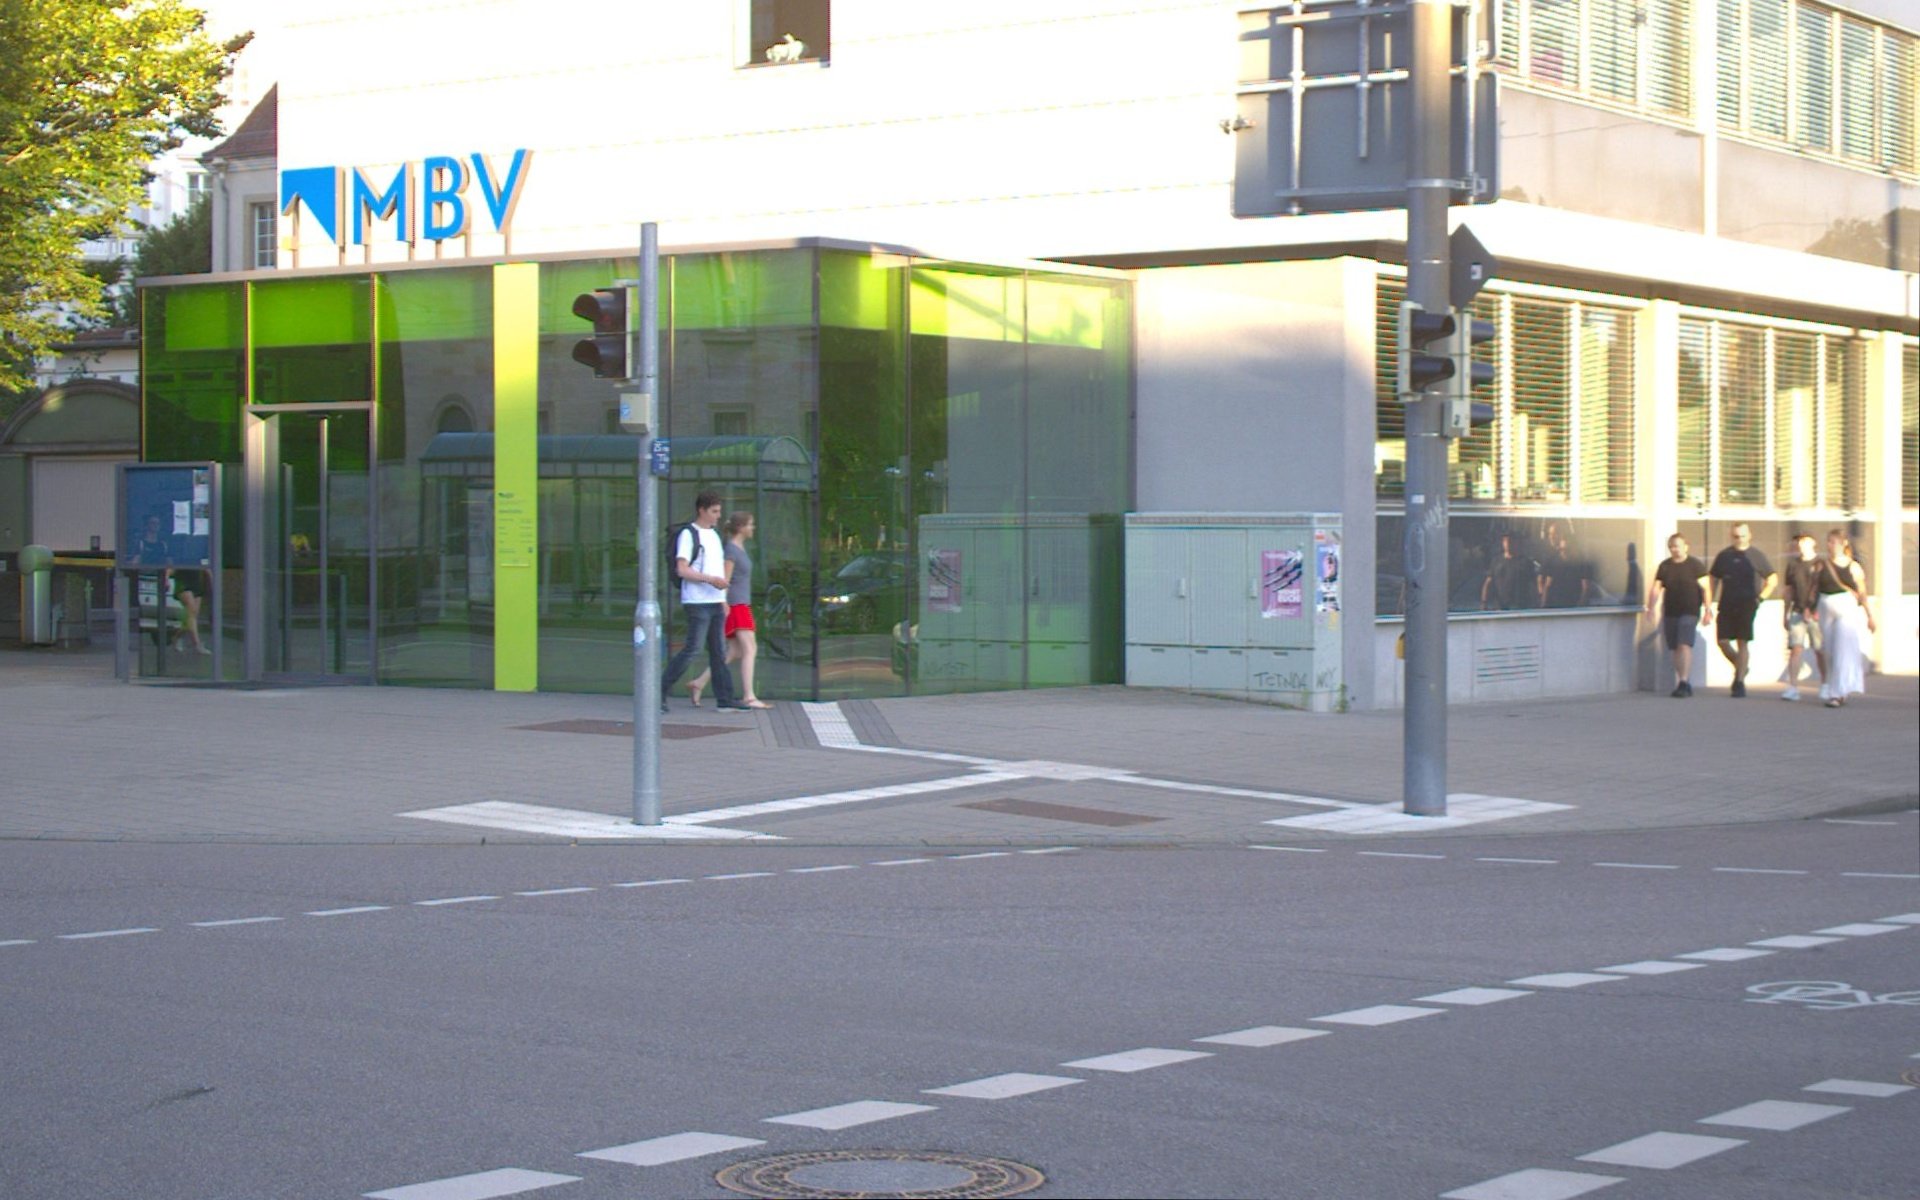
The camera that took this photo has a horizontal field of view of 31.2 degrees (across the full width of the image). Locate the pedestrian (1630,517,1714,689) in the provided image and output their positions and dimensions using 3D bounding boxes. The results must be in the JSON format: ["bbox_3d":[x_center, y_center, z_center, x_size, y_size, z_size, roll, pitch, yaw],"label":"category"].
[{"bbox_3d":[7.368,0.021,35.572,0.654,1.762,0.645,1,1,31],"label":"pedestrian"}]

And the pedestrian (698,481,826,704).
[{"bbox_3d":[-1.594,-0.070,27.676,0.746,1.762,0.707,1,1,36],"label":"pedestrian"}]

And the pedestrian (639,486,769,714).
[{"bbox_3d":[-2.018,-0.010,27.097,0.734,1.762,0.707,1,1,36],"label":"pedestrian"}]

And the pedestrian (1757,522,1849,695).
[{"bbox_3d":[8.740,0.077,35.636,0.740,1.762,0.671,1,1,31],"label":"pedestrian"}]

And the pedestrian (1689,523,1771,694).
[{"bbox_3d":[8.063,0.080,35.987,0.654,1.762,0.645,1,1,31],"label":"pedestrian"}]

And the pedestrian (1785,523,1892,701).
[{"bbox_3d":[8.835,0.108,34.577,0.842,1.762,0.784,1,1,31],"label":"pedestrian"}]
